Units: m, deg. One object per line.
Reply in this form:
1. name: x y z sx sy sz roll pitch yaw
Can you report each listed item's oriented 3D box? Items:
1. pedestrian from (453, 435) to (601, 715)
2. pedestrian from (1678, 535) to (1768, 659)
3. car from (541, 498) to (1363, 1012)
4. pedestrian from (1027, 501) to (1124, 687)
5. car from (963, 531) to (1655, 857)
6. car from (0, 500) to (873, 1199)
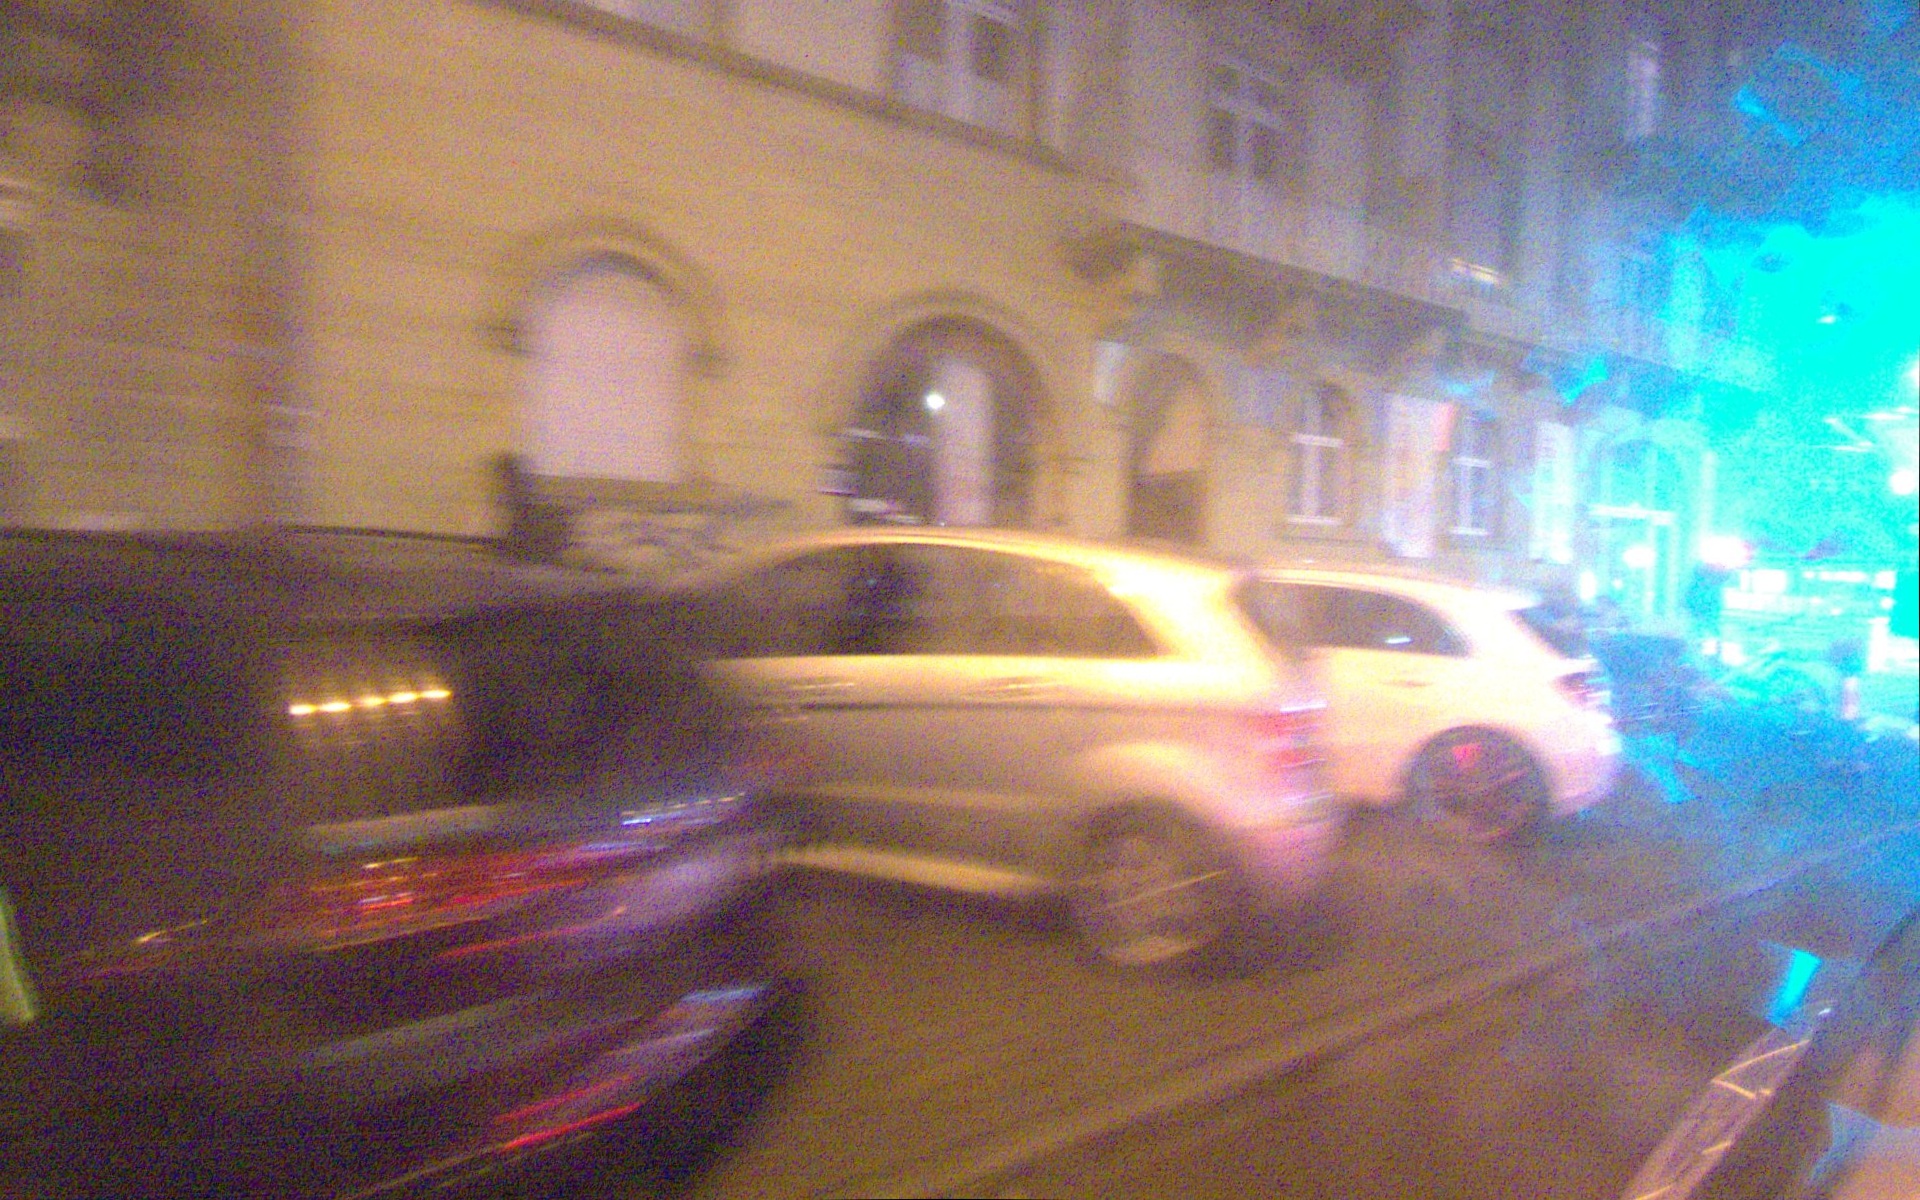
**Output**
1. pedestrian: -3.009 -0.164 7.022 0.768 1.812 0.658 3 1 -33
2. pedestrian: 12.277 -0.052 16.295 0.867 1.930 0.807 3 1 -33
3. car: -0.016 0.412 4.601 3.358 1.611 1.583 3 2 22
4. pedestrian: 1.087 -0.058 9.566 0.589 1.685 0.576 3 1 -33
5. car: 1.975 0.396 6.352 3.556 1.580 1.701 2 2 20
6. car: -2.443 0.500 2.986 4.065 1.510 1.584 3 2 21
